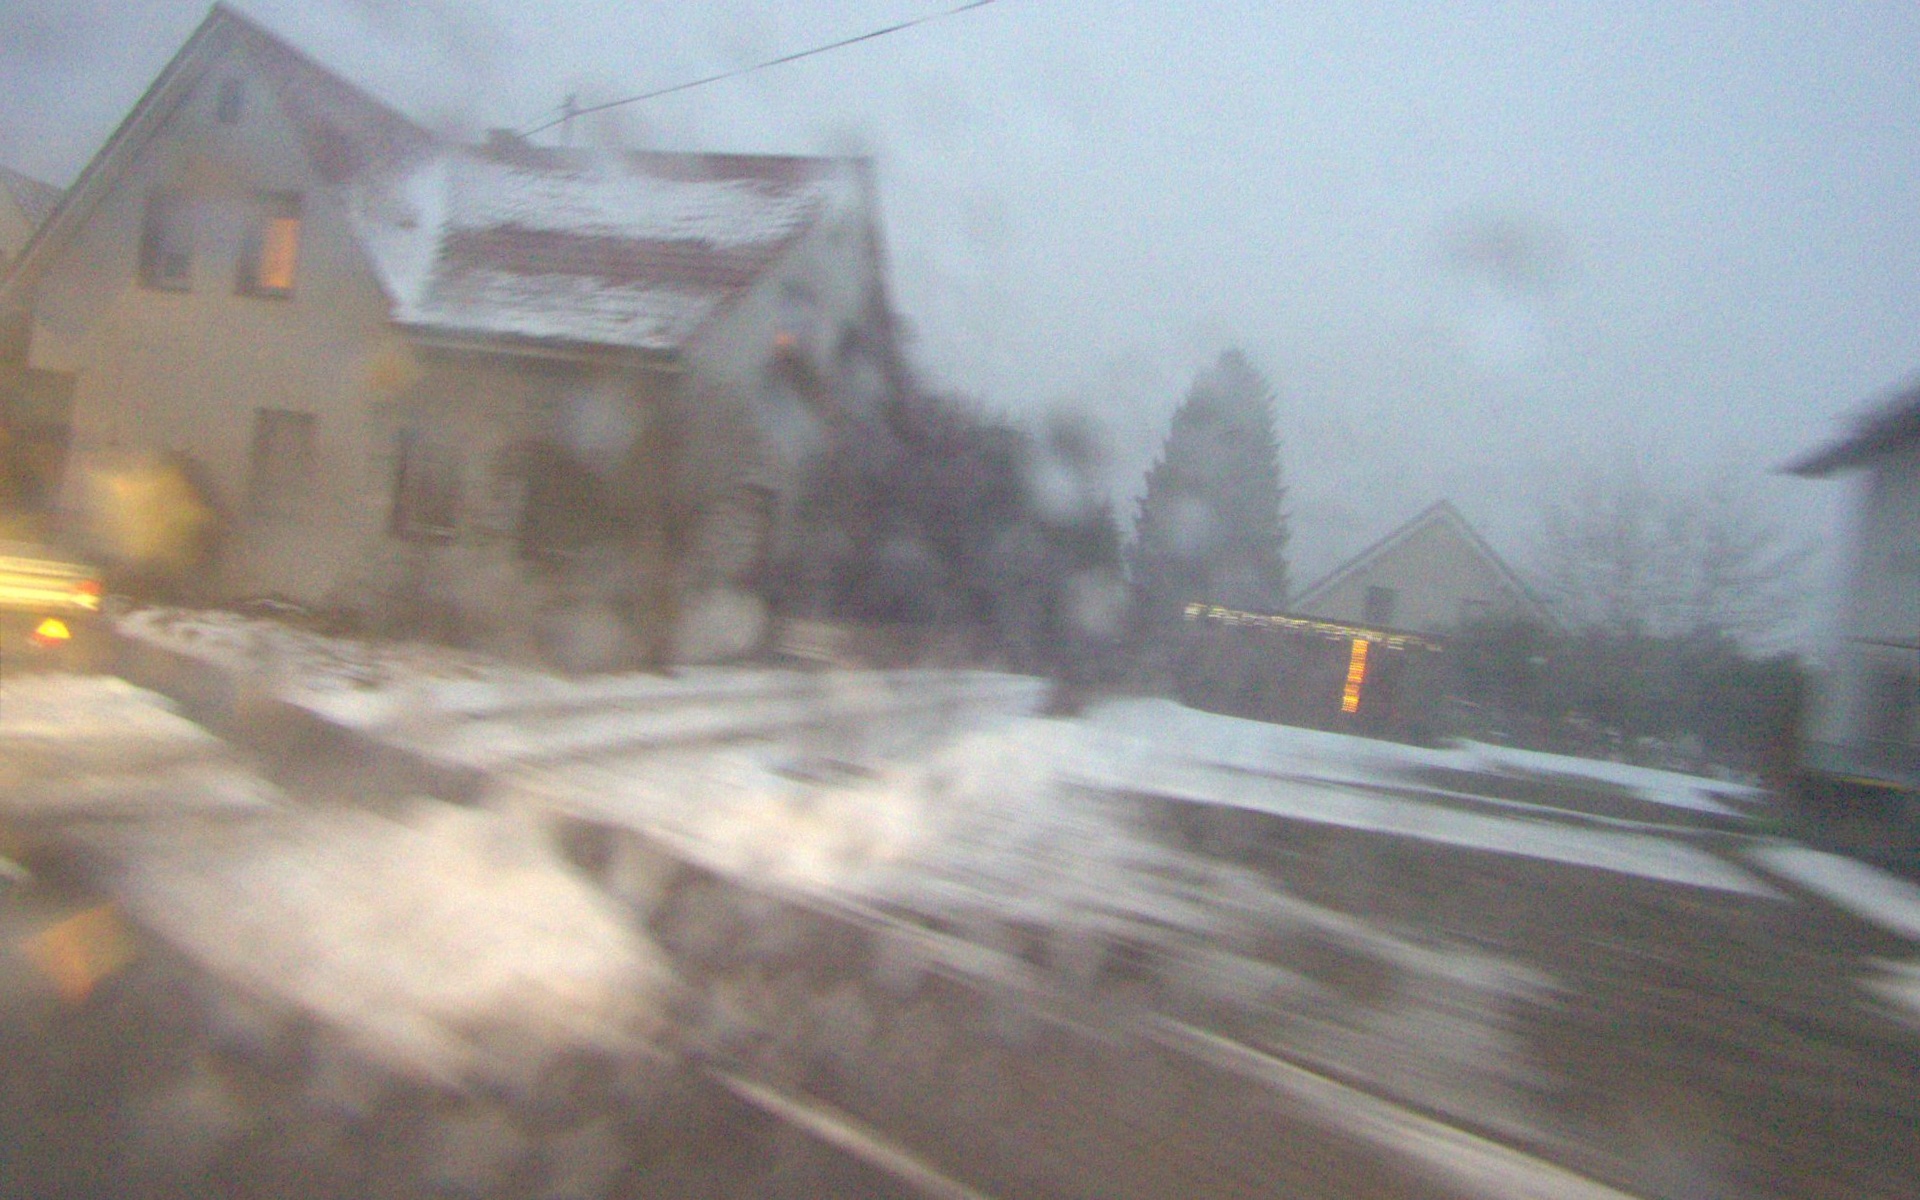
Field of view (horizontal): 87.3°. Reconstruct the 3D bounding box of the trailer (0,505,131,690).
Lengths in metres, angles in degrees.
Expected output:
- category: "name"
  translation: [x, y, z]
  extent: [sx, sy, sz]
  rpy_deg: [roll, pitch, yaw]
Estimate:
- category: "trailer"
  translation: [-9.518, -0.242, 9.357]
  extent: [4.665, 1.404, 1.992]
  rpy_deg: [7, -2, 42]
